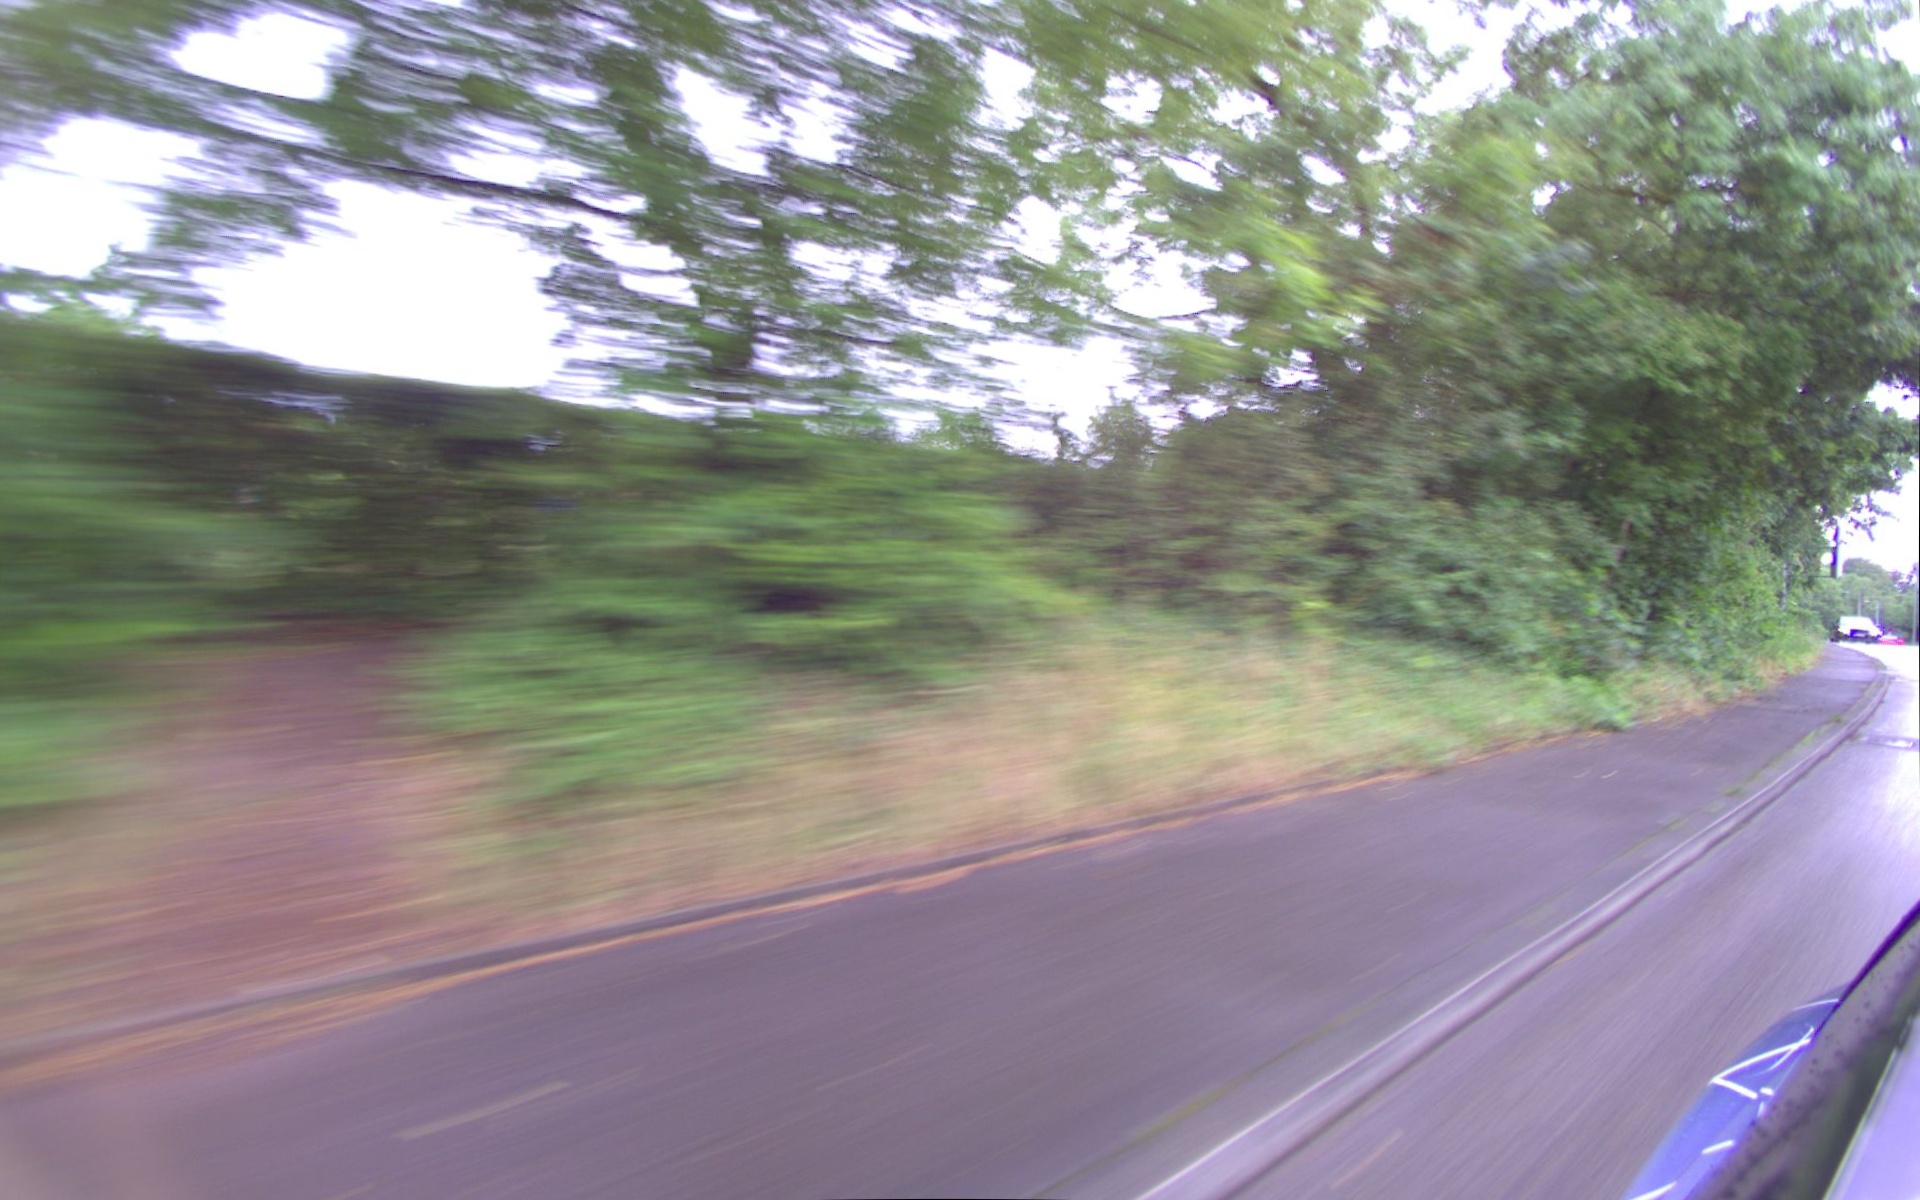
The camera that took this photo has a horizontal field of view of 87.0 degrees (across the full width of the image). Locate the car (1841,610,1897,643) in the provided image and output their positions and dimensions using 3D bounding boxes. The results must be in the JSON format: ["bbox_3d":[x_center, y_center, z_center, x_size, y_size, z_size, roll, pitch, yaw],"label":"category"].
[{"bbox_3d":[48.927,1.445,54.532,1.992,1.605,3.941,5,1,40],"label":"car"}]

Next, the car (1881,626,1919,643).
[{"bbox_3d":[85.303,3.081,91.734,1.867,1.391,4.334,2,0,31],"label":"car"}]

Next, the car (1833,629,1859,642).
[{"bbox_3d":[105.004,4.197,120.034,1.624,1.412,3.954,3,0,32],"label":"car"}]
